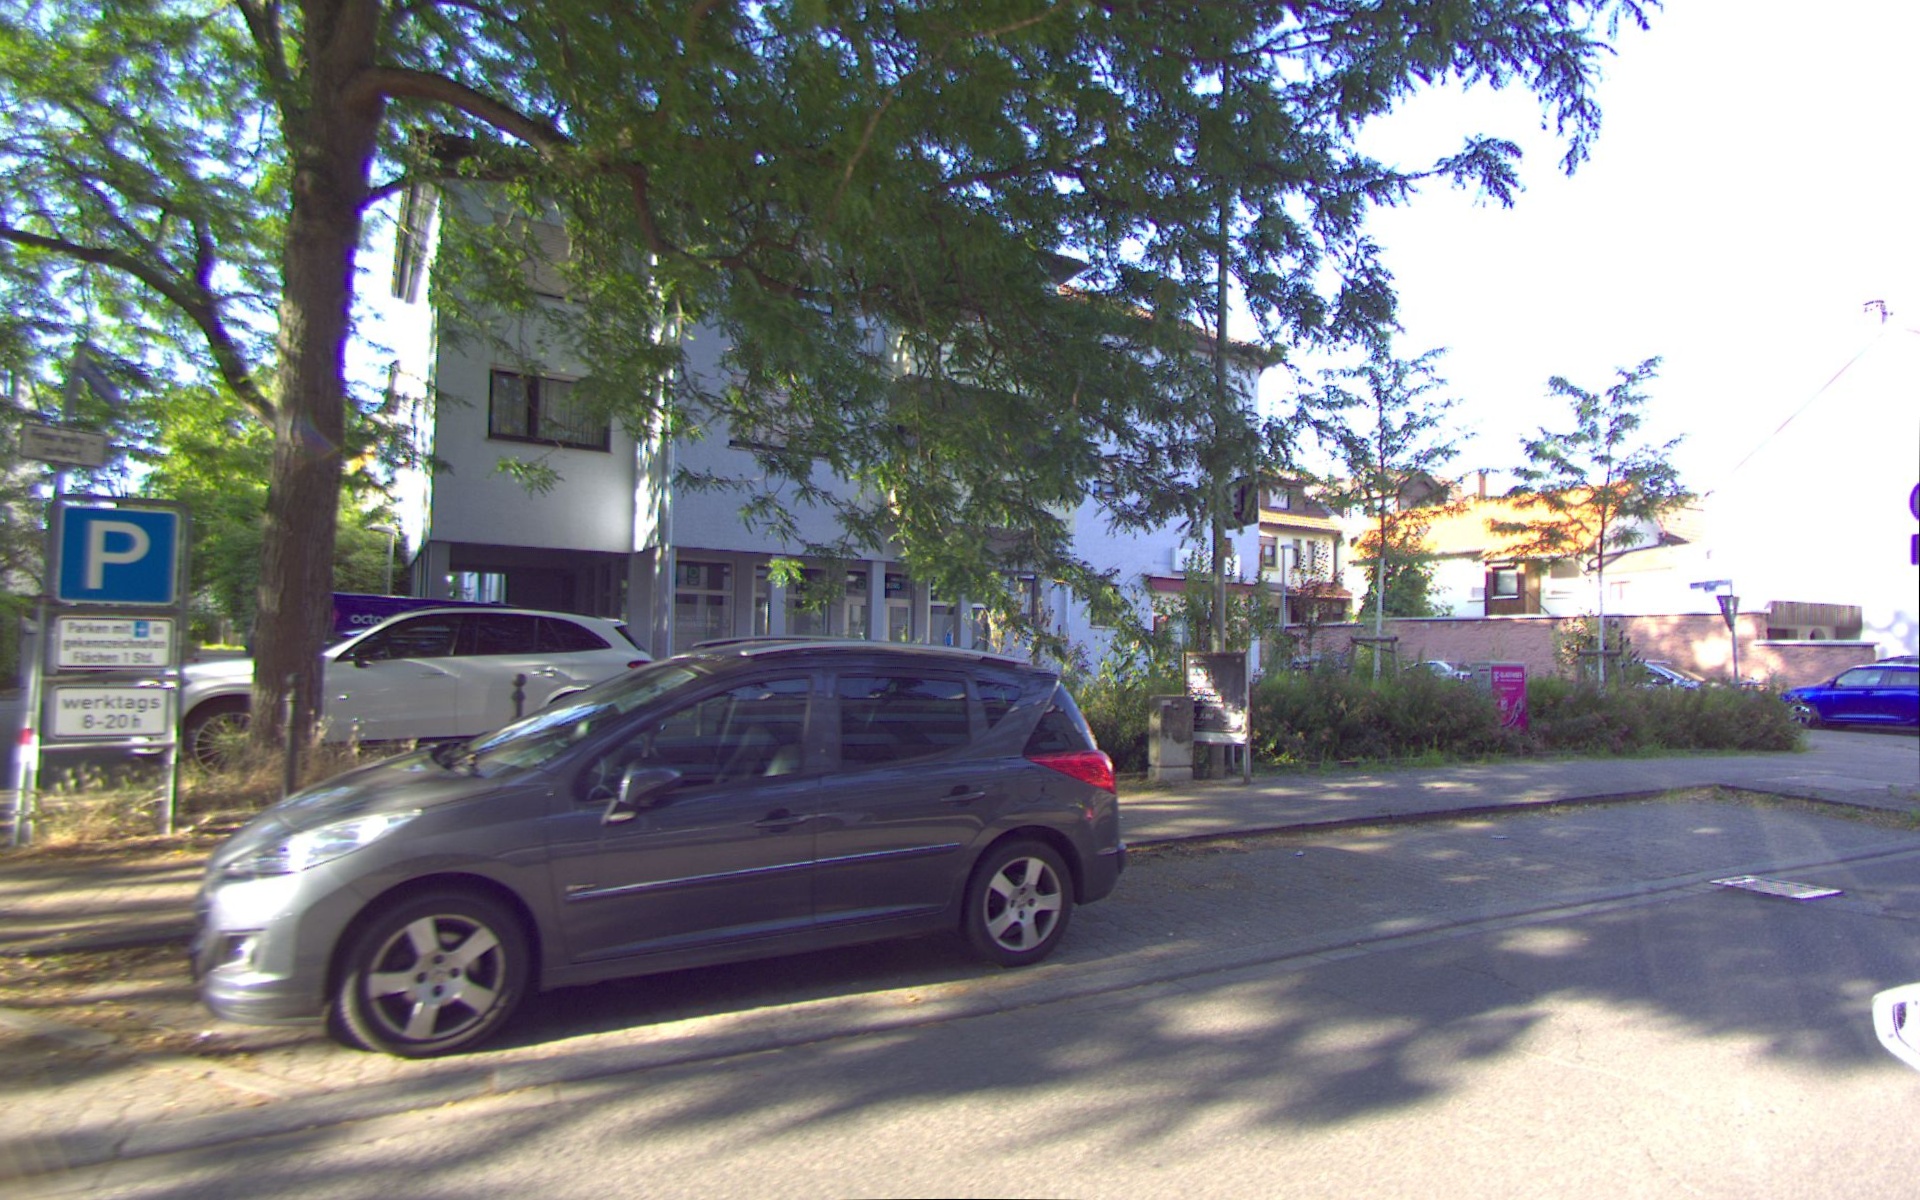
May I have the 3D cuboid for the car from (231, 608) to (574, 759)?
[{"bbox_3d":[-8.406,1.213,15.338,4.287,1.973,2.002,3,-4,-39],"label":"car"}]

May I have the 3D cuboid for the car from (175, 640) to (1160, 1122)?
[{"bbox_3d":[-1.119,0.987,4.890,3.950,1.511,1.690,2,-2,-28],"label":"car"}]

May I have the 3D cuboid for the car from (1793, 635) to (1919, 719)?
[{"bbox_3d":[23.350,1.880,24.431,1.960,1.819,4.351,-1,1,-24],"label":"car"}]

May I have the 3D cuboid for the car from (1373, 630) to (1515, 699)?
[{"bbox_3d":[15.260,2.024,31.859,1.901,2.040,3.648,1,-3,-27],"label":"car"}]

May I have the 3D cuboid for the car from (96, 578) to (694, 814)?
[{"bbox_3d":[-5.377,0.881,10.225,4.849,1.920,1.834,2,-3,-31],"label":"car"}]

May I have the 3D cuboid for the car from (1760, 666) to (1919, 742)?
[{"bbox_3d":[20.334,2.239,22.105,1.973,1.550,3.758,1,-4,-25],"label":"car"}]

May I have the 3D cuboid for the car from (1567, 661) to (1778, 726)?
[{"bbox_3d":[18.411,2.428,26.174,1.973,1.519,3.978,0,-5,-25],"label":"car"}]
